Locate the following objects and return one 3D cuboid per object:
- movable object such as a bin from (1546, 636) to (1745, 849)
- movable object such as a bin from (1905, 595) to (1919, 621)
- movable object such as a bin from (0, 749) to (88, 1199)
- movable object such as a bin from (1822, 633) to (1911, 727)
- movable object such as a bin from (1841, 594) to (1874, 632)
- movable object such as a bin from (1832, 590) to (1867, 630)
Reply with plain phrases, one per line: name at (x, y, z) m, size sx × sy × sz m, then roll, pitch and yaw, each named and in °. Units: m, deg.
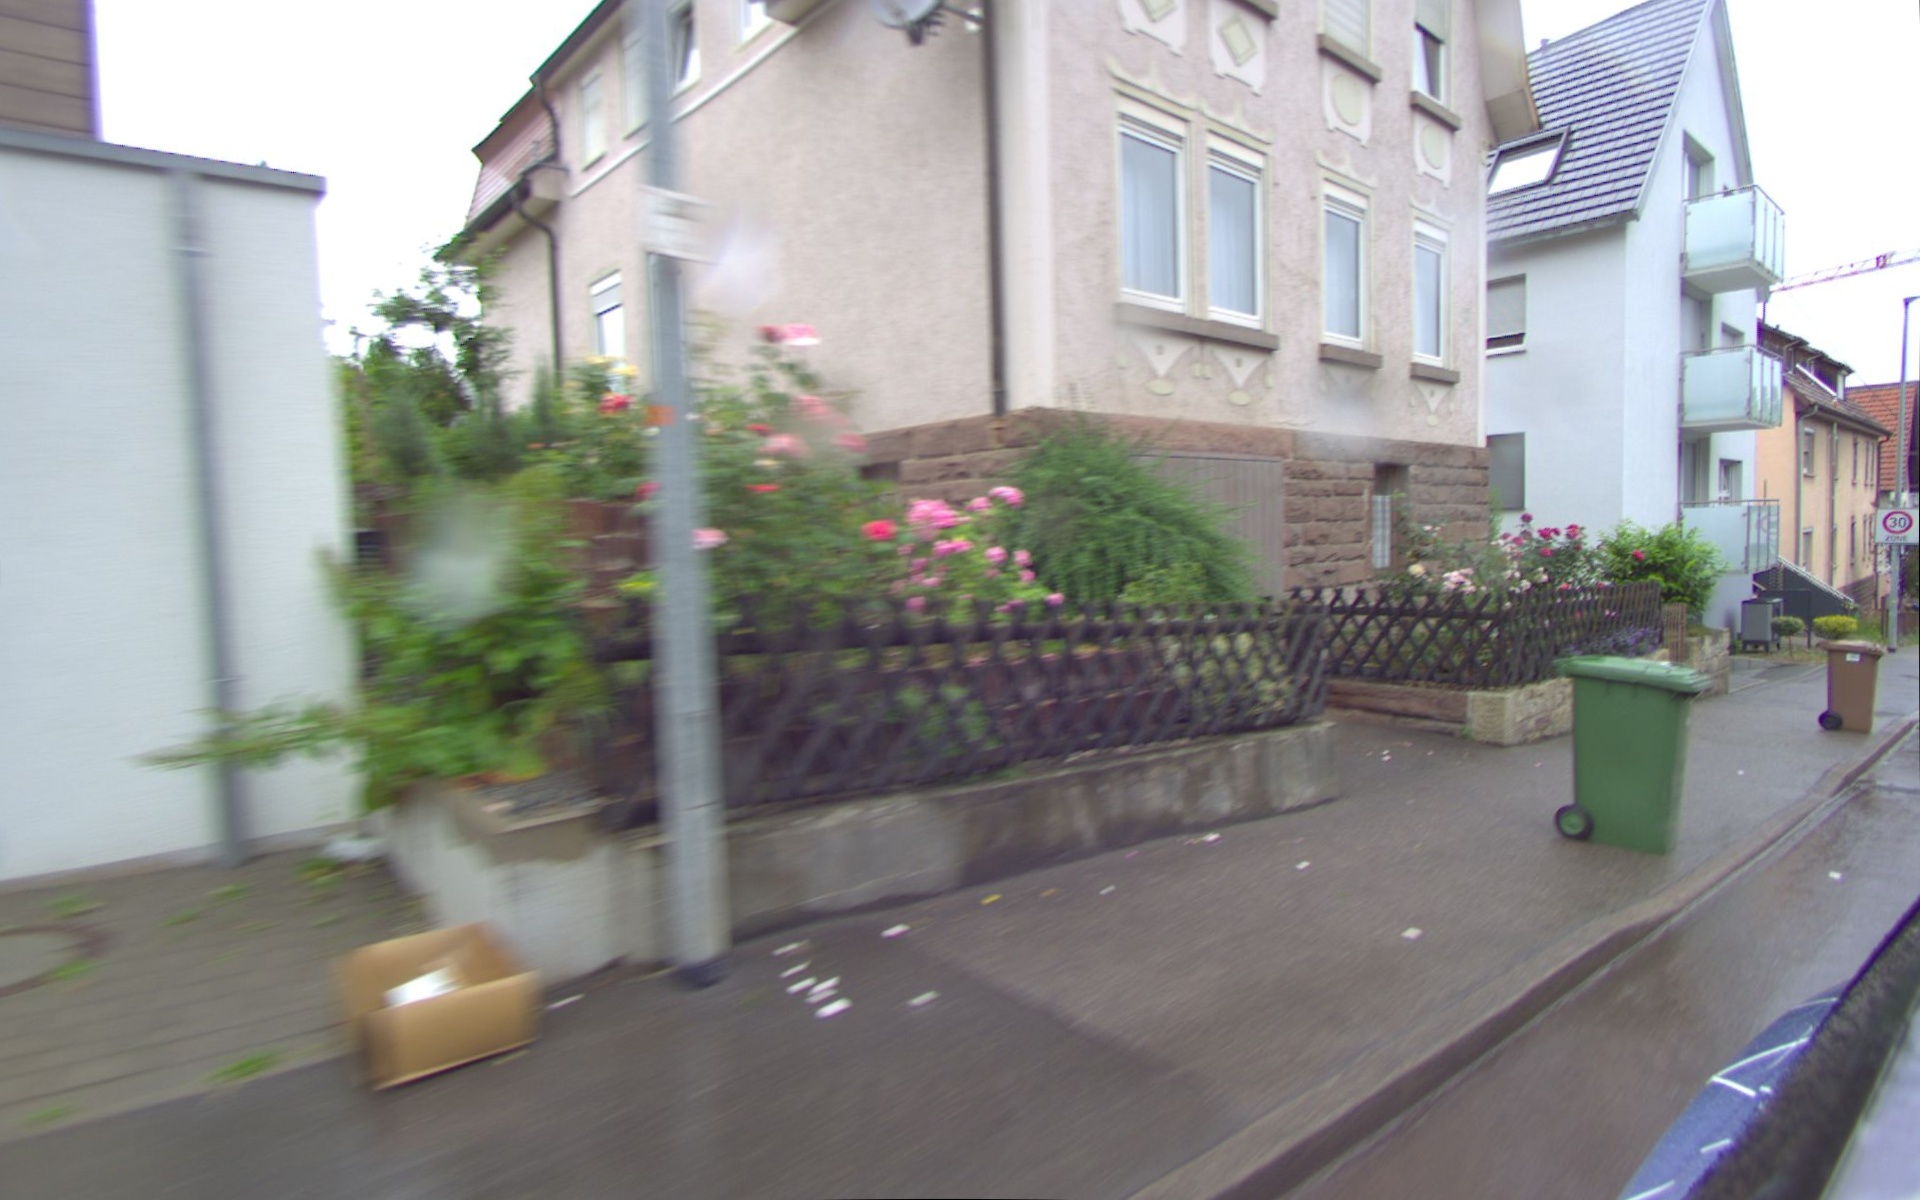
movable object such as a bin at (4.033, 0.783, 5.967) m, size 0.747 × 1.084 × 0.798 m, roll 0°, pitch 0°, yaw -39°
movable object such as a bin at (38.475, 0.325, 40.667) m, size 0.779 × 0.978 × 0.611 m, roll 0°, pitch 7°, yaw -44°
movable object such as a bin at (-1.515, 0.801, 1.181) m, size 0.736 × 1.074 × 0.837 m, roll 0°, pitch 0°, yaw -40°
movable object such as a bin at (9.593, 0.822, 10.710) m, size 0.699 × 0.908 × 0.631 m, roll 0°, pitch 0°, yaw -41°
movable object such as a bin at (27.878, 0.404, 31.441) m, size 0.645 × 1.106 × 0.661 m, roll 0°, pitch 4°, yaw -43°
movable object such as a bin at (26.049, 0.285, 29.636) m, size 0.536 × 1.106 × 0.661 m, roll 0°, pitch 5°, yaw -43°
